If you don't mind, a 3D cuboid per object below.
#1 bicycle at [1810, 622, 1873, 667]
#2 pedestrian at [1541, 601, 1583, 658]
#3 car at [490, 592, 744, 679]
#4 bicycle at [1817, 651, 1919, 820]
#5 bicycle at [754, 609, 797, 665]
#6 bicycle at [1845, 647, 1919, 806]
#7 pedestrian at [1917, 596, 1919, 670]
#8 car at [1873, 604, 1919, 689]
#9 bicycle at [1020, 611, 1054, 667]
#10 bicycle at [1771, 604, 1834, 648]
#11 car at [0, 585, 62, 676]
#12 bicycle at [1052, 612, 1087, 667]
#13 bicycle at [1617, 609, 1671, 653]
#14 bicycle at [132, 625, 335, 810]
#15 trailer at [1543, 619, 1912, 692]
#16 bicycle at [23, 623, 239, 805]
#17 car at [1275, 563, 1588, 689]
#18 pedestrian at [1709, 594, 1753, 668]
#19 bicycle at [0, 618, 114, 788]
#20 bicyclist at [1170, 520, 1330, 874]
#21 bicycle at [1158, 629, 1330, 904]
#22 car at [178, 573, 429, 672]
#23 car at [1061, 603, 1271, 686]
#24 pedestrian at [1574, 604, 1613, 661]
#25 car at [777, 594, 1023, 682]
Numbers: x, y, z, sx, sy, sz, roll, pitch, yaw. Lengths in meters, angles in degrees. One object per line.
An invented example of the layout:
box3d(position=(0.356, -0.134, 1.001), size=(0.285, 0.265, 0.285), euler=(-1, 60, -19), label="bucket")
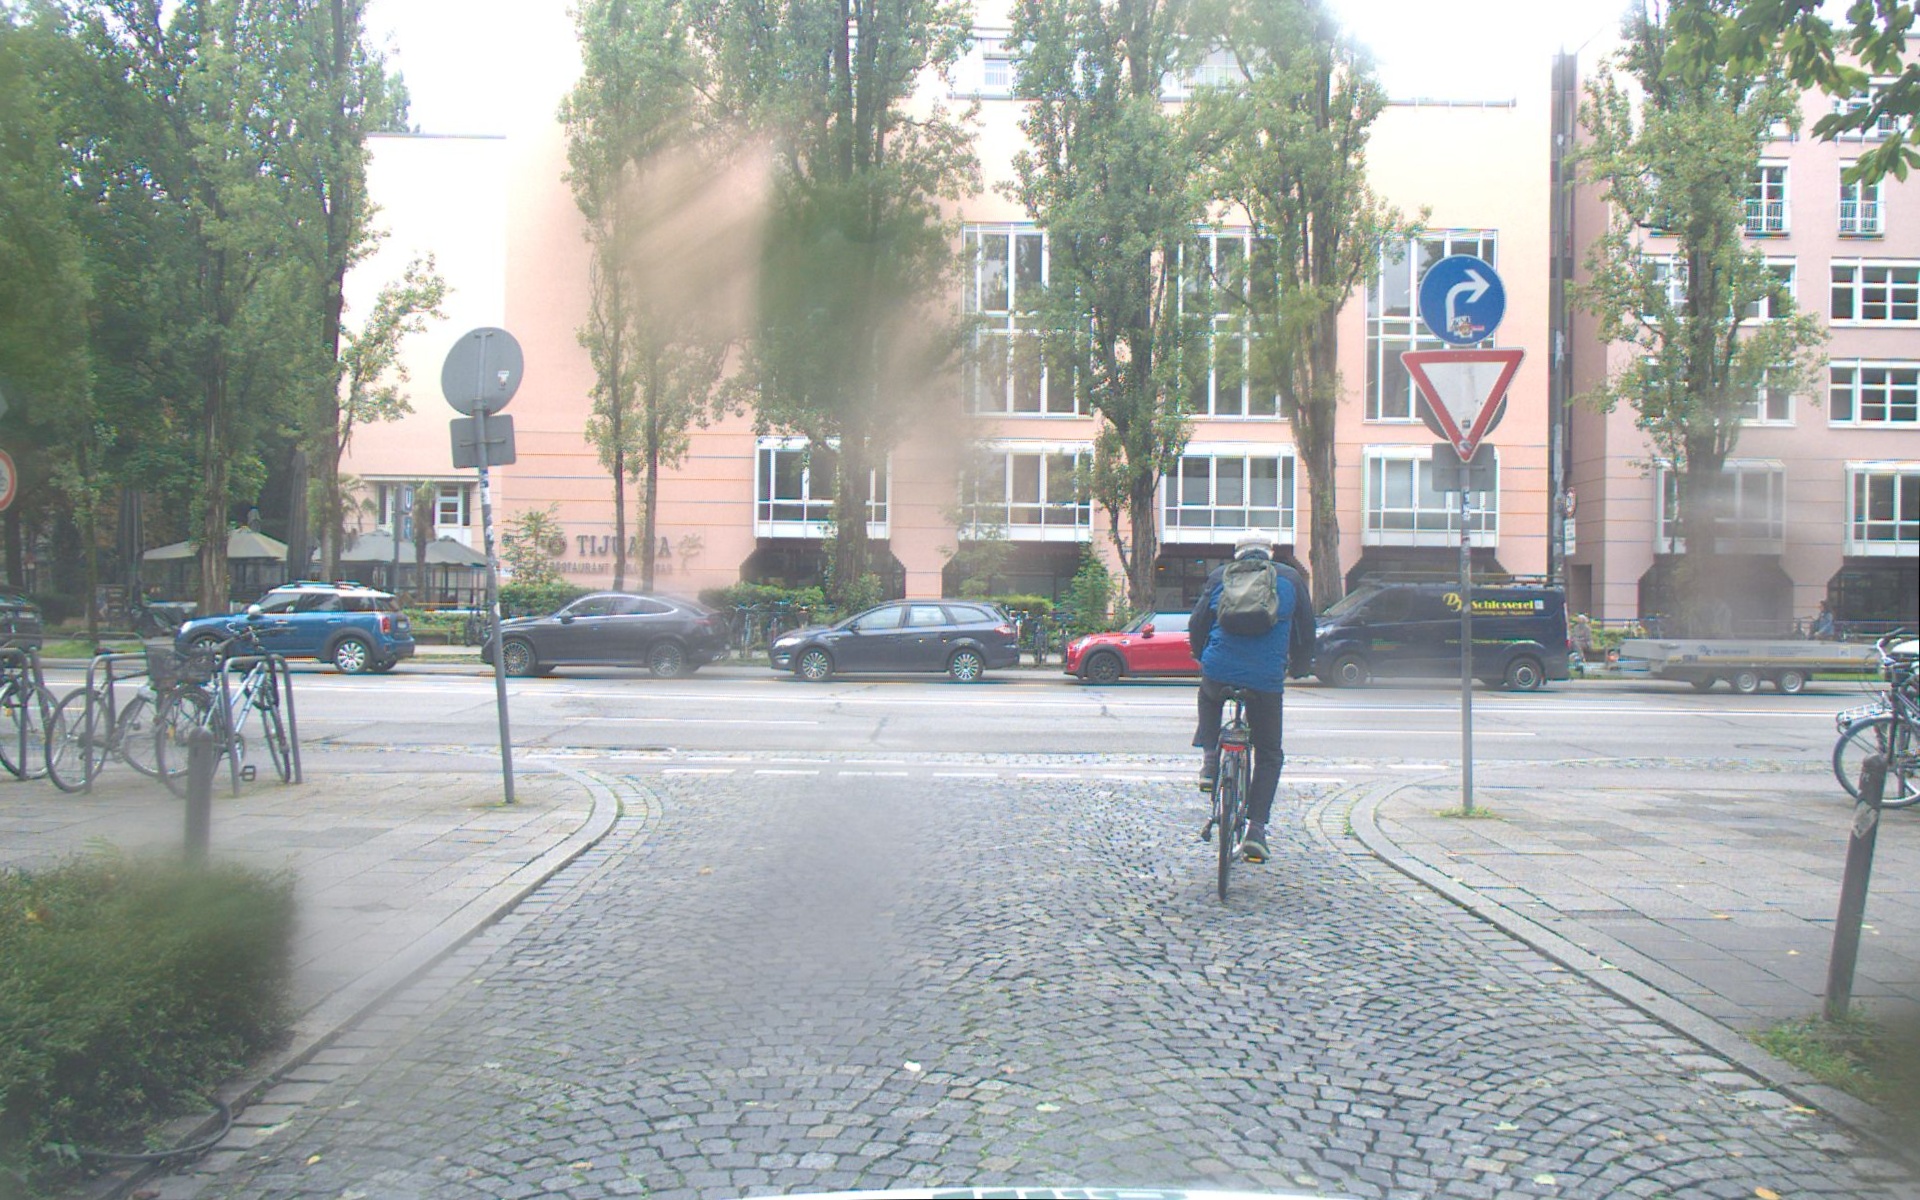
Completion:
box3d(position=(23.873, 1.198, 44.809), size=(0.660, 1.144, 1.989), euler=(0, 0, 1), label="bicycle")
box3d(position=(15.058, 0.727, 41.376), size=(0.699, 1.393, 0.725), euler=(1, 0, -29), label="pedestrian")
box3d(position=(-6.439, 0.652, 31.358), size=(4.407, 1.555, 1.793), euler=(1, 0, 0), label="car")
box3d(position=(6.440, 0.893, 10.909), size=(0.465, 1.069, 1.874), euler=(1, -1, -5), label="bicycle")
box3d(position=(-3.963, 0.783, 35.646), size=(0.660, 1.144, 1.989), euler=(0, 0, 1), label="bicycle")
box3d(position=(6.918, 0.901, 11.584), size=(0.464, 1.069, 1.877), euler=(1, 1, 1), label="bicycle")
box3d(position=(23.013, 0.791, 38.790), size=(0.714, 1.743, 0.709), euler=(1, 0, 1), label="pedestrian")
box3d(position=(19.719, 0.883, 31.060), size=(4.132, 1.569, 1.806), euler=(0, -1, 2), label="car")
box3d(position=(1.648, 0.824, 35.514), size=(0.660, 1.144, 1.742), euler=(0, 0, 1), label="bicycle")
box3d(position=(22.878, 0.694, 44.930), size=(0.660, 1.144, 2.107), euler=(0, 0, 1), label="bicycle")
box3d(position=(-19.305, 0.526, 30.799), size=(4.136, 1.629, 1.793), euler=(1, 0, 0), label="car")
box3d(position=(2.341, 0.833, 35.517), size=(0.660, 1.144, 1.742), euler=(0, 0, 1), label="bicycle")
box3d(position=(18.598, 0.826, 44.996), size=(0.660, 1.144, 1.989), euler=(0, 0, 1), label="bicycle")
box3d(position=(-4.835, 0.740, 11.124), size=(0.480, 1.112, 1.704), euler=(1, 0, 5), label="bicycle")
box3d(position=(14.450, 1.021, 31.439), size=(5.894, 1.220, 2.405), euler=(1, 0, 1), label="trailer")
box3d(position=(-5.600, 0.730, 11.282), size=(0.480, 1.112, 1.704), euler=(1, 0, 5), label="bicycle")
box3d(position=(8.853, 0.476, 31.416), size=(5.366, 2.235, 2.024), euler=(1, 0, 0), label="car")
box3d(position=(18.356, 0.729, 39.399), size=(0.714, 1.743, 0.709), euler=(1, 0, 1), label="pedestrian")
box3d(position=(-6.622, 0.695, 11.324), size=(0.480, 1.112, 1.985), euler=(1, 0, 5), label="bicycle")
box3d(position=(1.447, 0.447, 8.171), size=(0.707, 1.647, 0.757), euler=(1, 0, 14), label="bicyclist")
box3d(position=(1.451, 0.740, 8.193), size=(0.701, 1.168, 1.902), euler=(1, 0, 14), label="bicycle")
box3d(position=(-12.333, 0.438, 31.249), size=(3.983, 1.762, 1.793), euler=(1, -1, -2), label="car")
box3d(position=(3.819, 0.815, 31.136), size=(3.780, 1.474, 1.679), euler=(1, 0, 3), label="car")
box3d(position=(15.834, 0.806, 41.352), size=(0.714, 1.393, 0.709), euler=(1, 0, 1), label="pedestrian")
box3d(position=(-1.097, 0.704, 31.335), size=(4.514, 1.555, 1.793), euler=(1, 0, 0), label="car")
